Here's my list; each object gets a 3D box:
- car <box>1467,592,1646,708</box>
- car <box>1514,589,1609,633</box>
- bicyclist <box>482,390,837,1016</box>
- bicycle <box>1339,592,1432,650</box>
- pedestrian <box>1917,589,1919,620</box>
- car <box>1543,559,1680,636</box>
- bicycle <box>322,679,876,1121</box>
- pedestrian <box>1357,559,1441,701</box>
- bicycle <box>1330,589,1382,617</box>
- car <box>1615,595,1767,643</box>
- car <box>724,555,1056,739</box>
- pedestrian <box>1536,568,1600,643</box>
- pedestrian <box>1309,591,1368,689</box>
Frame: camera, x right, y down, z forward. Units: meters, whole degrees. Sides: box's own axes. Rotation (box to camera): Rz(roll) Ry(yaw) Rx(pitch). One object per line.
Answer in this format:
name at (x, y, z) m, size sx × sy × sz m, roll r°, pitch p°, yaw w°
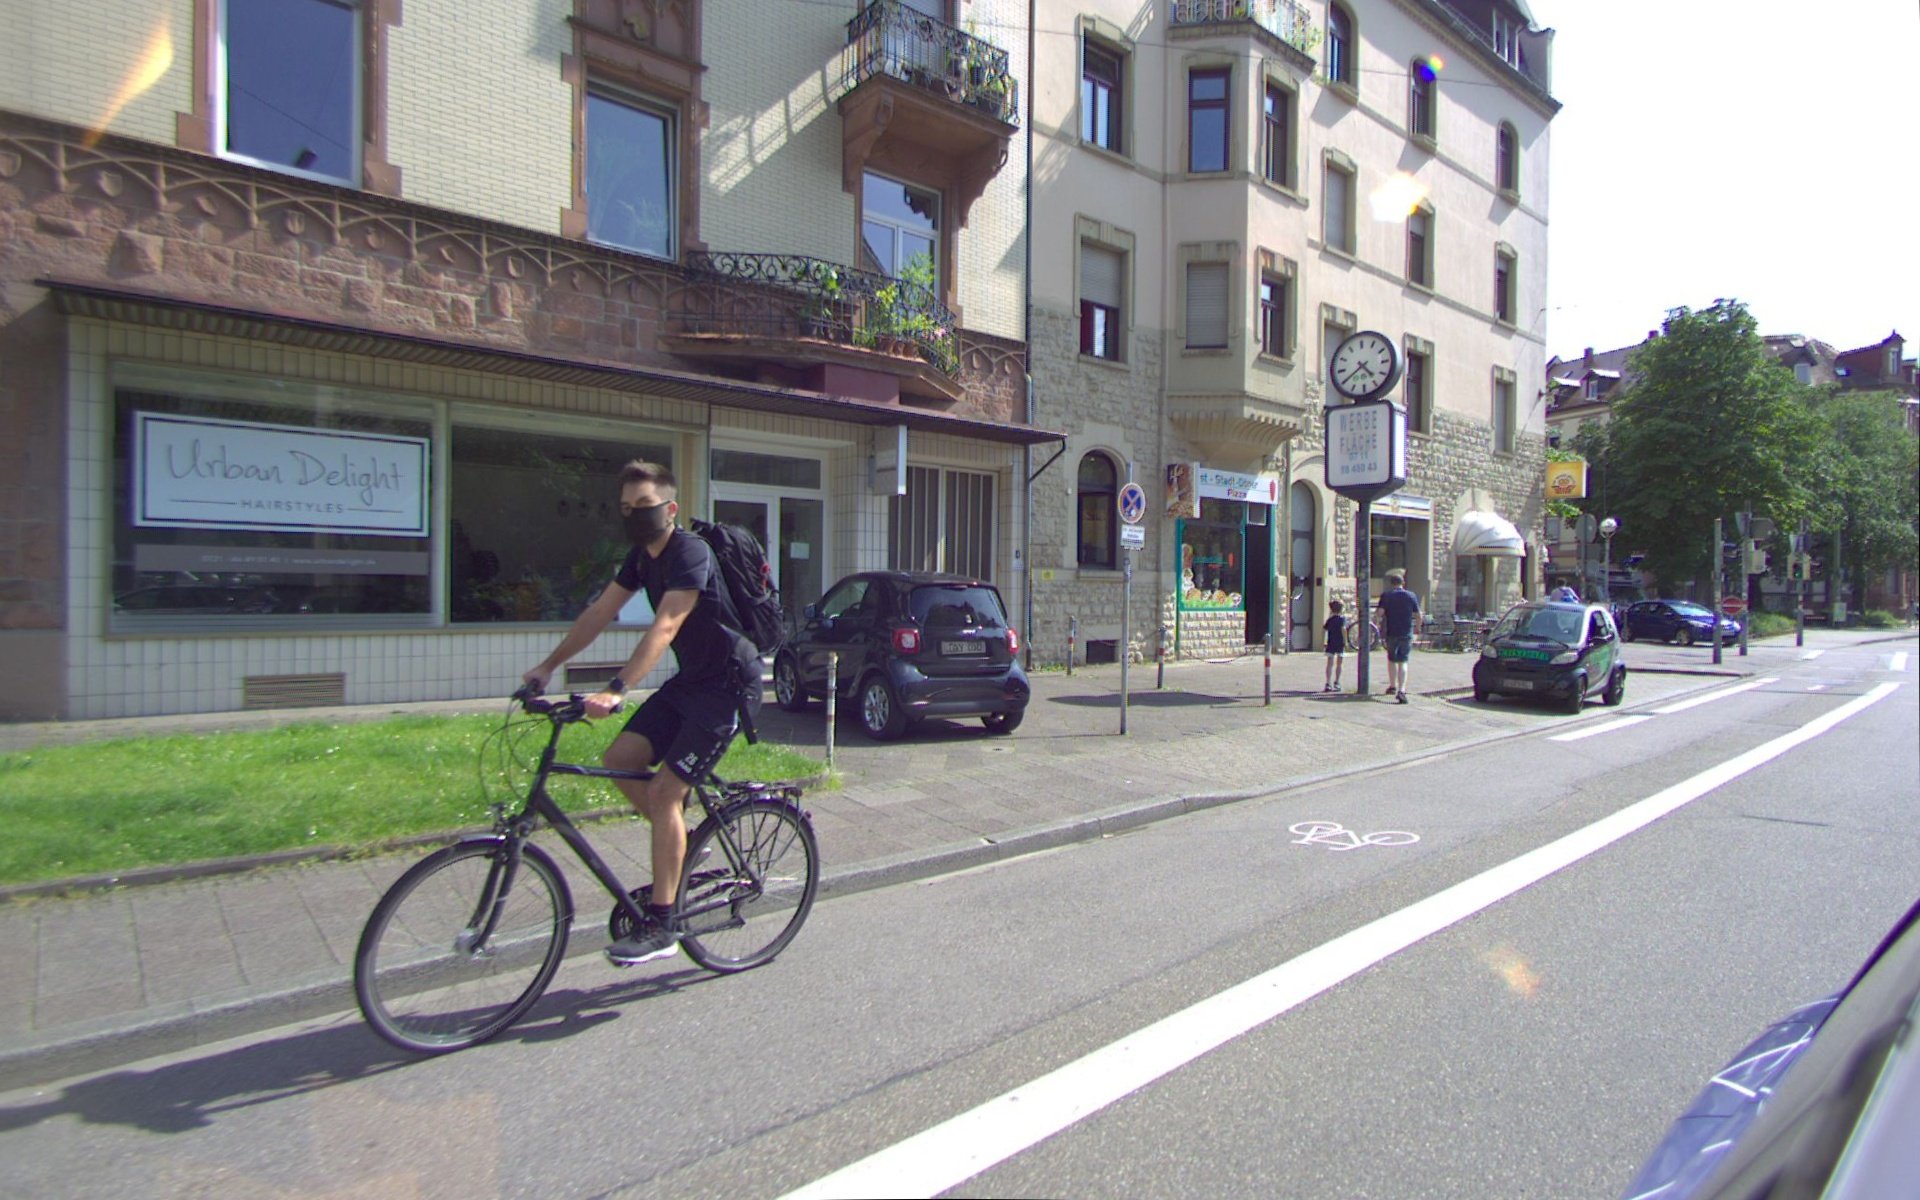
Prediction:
car at (9.098, 0.683, 15.384) m, size 2.746 × 1.517 × 1.516 m, roll 0°, pitch 3°, yaw -42°
car at (23.464, 0.399, 39.675) m, size 1.699 × 1.574 × 4.103 m, roll -2°, pitch 0°, yaw 8°
bicyclist at (-1.106, 0.320, 3.788) m, size 1.110 × 1.973 × 0.608 m, roll 0°, pitch -1°, yaw -40°
bicycle at (9.303, 0.430, 22.054) m, size 2.705 × 1.192 × 0.805 m, roll -1°, pitch -1°, yaw -43°
pedestrian at (53.037, 0.227, 55.486) m, size 0.524 × 1.675 × 0.706 m, roll 0°, pitch -1°, yaw -39°
car at (26.452, -0.086, 41.470) m, size 2.355 × 2.829 × 6.652 m, roll 1°, pitch 0°, yaw 11°
bicycle at (-1.232, 0.928, 3.710) m, size 1.803 × 1.057 × 0.617 m, roll -2°, pitch 5°, yaw -40°
pedestrian at (6.130, 0.390, 14.127) m, size 0.659 × 1.863 × 0.860 m, roll 8°, pitch 6°, yaw 42°
bicycle at (16.688, 0.126, 42.657) m, size 1.933 × 1.130 × 0.588 m, roll 1°, pitch -1°, yaw -5°
car at (23.818, 0.570, 33.183) m, size 1.854 × 1.436 × 4.004 m, roll 1°, pitch 1°, yaw -4°
car at (-0.869, 0.345, 10.659) m, size 1.935 × 1.542 × 3.412 m, roll 0°, pitch 3°, yaw -37°
pedestrian at (15.520, 0.135, 25.833) m, size 0.834 × 1.789 × 1.014 m, roll 1°, pitch 5°, yaw -38°
pedestrian at (5.503, 0.565, 14.716) m, size 0.570 × 1.341 × 0.435 m, roll 7°, pitch 5°, yaw 43°
